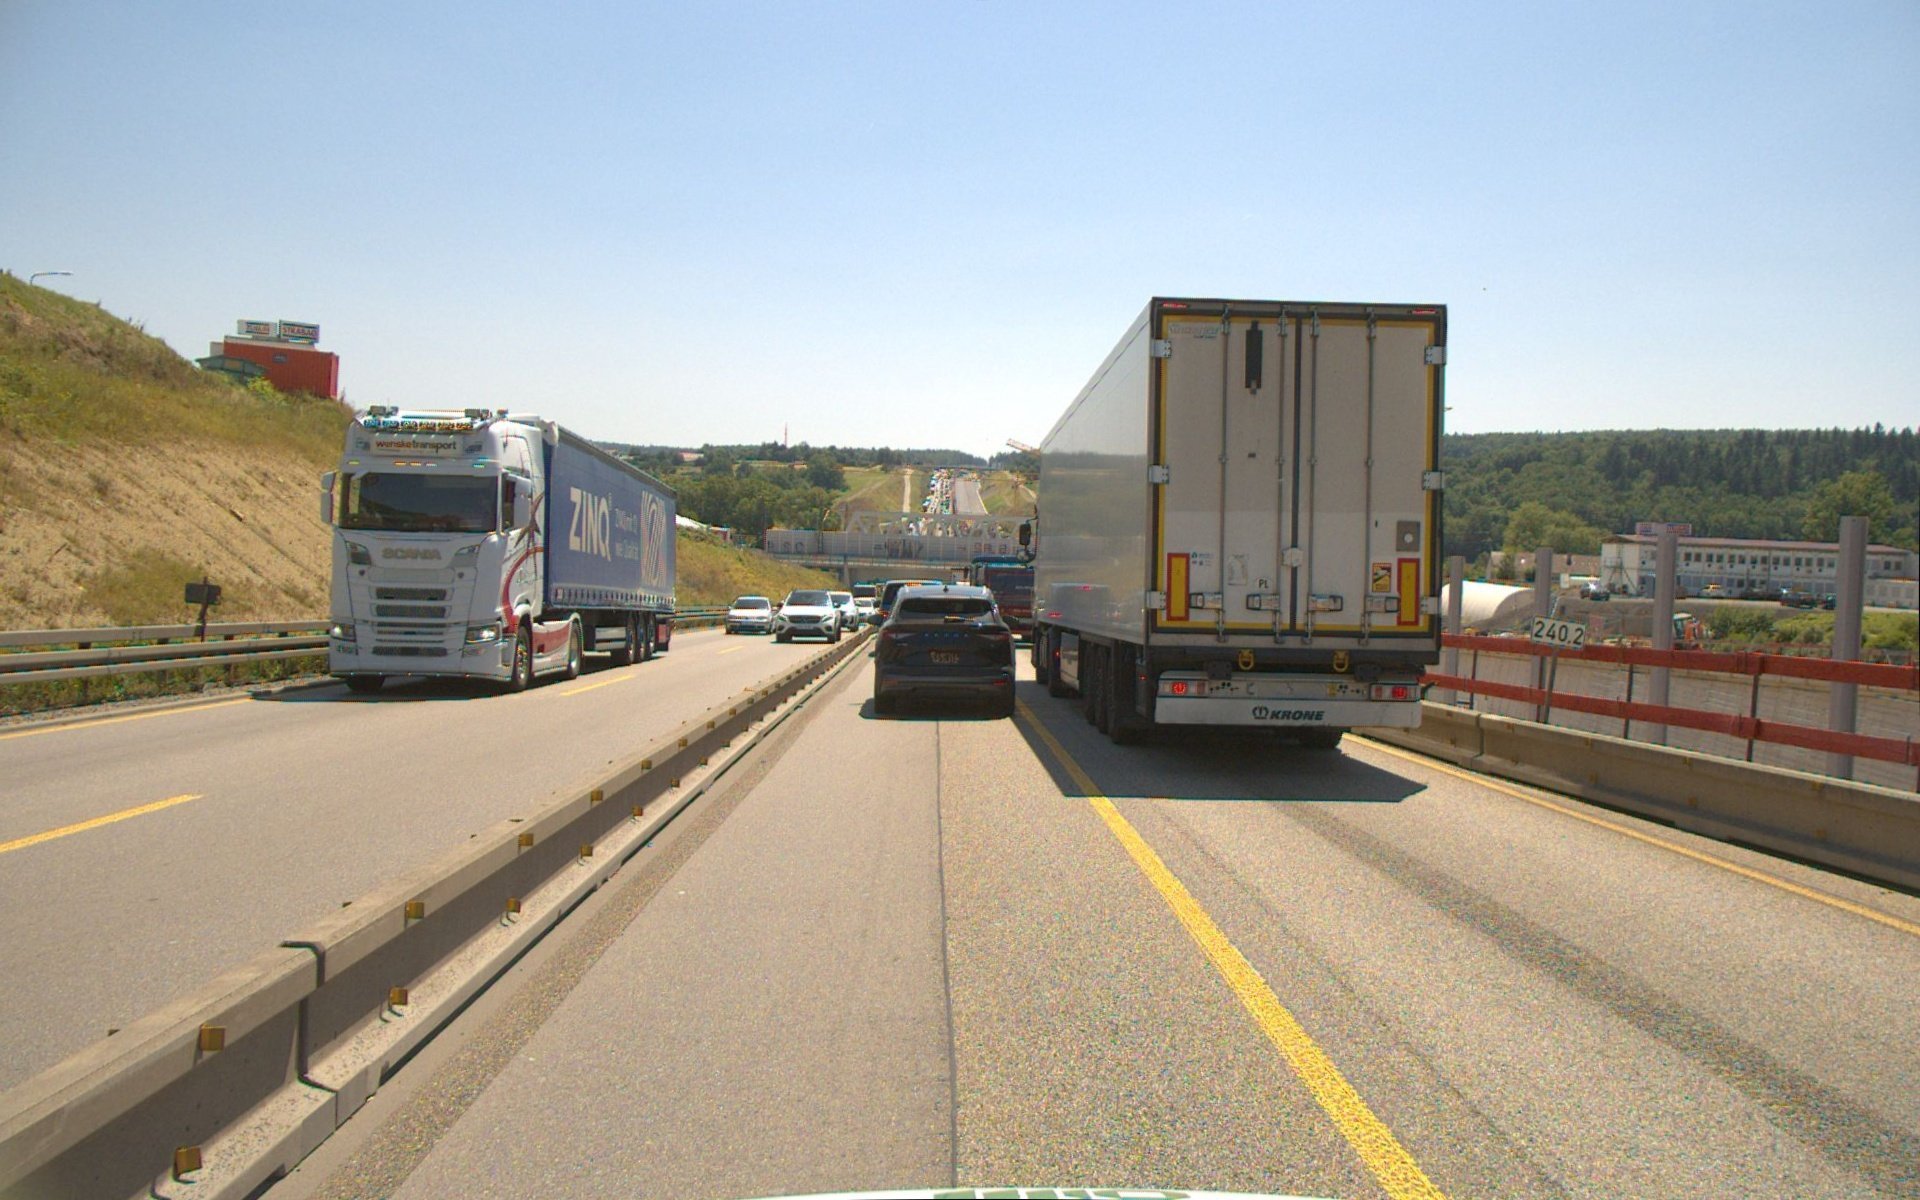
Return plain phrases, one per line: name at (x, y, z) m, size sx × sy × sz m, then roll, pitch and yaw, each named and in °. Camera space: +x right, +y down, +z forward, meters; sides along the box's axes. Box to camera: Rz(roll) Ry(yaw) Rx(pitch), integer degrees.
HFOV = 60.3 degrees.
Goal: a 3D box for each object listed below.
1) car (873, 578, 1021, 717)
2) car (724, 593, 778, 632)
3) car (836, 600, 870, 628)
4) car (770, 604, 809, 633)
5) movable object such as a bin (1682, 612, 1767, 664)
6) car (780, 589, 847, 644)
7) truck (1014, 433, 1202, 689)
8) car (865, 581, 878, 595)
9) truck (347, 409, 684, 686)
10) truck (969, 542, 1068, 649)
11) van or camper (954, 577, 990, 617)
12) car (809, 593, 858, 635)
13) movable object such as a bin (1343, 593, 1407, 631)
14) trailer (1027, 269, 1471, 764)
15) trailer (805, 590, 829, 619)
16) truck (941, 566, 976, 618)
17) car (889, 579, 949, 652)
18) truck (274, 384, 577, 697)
car at (-0.188, 0.559, 21.639) m, size 1.764 × 1.648 × 3.297 m, roll 1°, pitch 0°, yaw -1°
car at (-7.904, 0.450, 62.888) m, size 1.667 × 1.403 × 3.965 m, roll 1°, pitch 0°, yaw -2°
car at (-5.997, 0.748, 93.140) m, size 1.770 × 1.503 × 4.278 m, roll 1°, pitch 0°, yaw -2°
car at (-9.700, 1.037, 94.522) m, size 1.861 × 1.612 × 4.512 m, roll 1°, pitch 0°, yaw -2°
movable object such as a bin at (35.229, 1.724, 76.317) m, size 1.953 × 2.278 × 4.151 m, roll 1°, pitch 0°, yaw -1°
car at (-4.652, 0.506, 53.028) m, size 1.775 × 1.666 × 4.361 m, roll 1°, pitch 0°, yaw 0°
truck at (2.495, -0.615, 29.344) m, size 2.720 × 4.129 × 4.902 m, roll 1°, pitch 0°, yaw -2°
car at (-11.798, -1.635, 220.708) m, size 1.697 × 1.825 × 3.579 m, roll 1°, pitch 0°, yaw -2°
truck at (-8.025, -0.825, 32.543) m, size 3.178 × 4.232 × 13.973 m, roll 1°, pitch 0°, yaw -2°
truck at (1.804, -0.118, 56.420) m, size 2.756 × 3.190 × 12.835 m, roll 1°, pitch 0°, yaw -1°
van or camper at (0.697, -0.202, 98.571) m, size 1.953 × 2.283 × 3.999 m, roll 2°, pitch 0°, yaw -1°
car at (-5.396, 0.583, 71.057) m, size 1.853 × 1.738 × 4.559 m, roll 1°, pitch 0°, yaw -2°
movable object such as a bin at (34.419, 0.989, 137.442) m, size 2.829 × 2.960 × 9.477 m, roll 1°, pitch 0°, yaw 0°
trailer at (2.723, -0.658, 20.956) m, size 2.745 × 4.129 × 14.111 m, roll 1°, pitch 0°, yaw -2°
trailer at (-10.374, 0.346, 120.352) m, size 1.614 × 2.061 × 4.267 m, roll 0°, pitch 0°, yaw -4°
truck at (-0.185, -0.651, 134.121) m, size 2.467 × 4.028 × 7.597 m, roll 2°, pitch 0°, yaw -2°
car at (-1.036, 0.376, 42.643) m, size 1.444 × 1.826 × 3.297 m, roll 0°, pitch 0°, yaw 0°
truck at (-7.785, -0.814, 24.699) m, size 3.174 × 4.232 × 4.246 m, roll 1°, pitch 0°, yaw -2°
